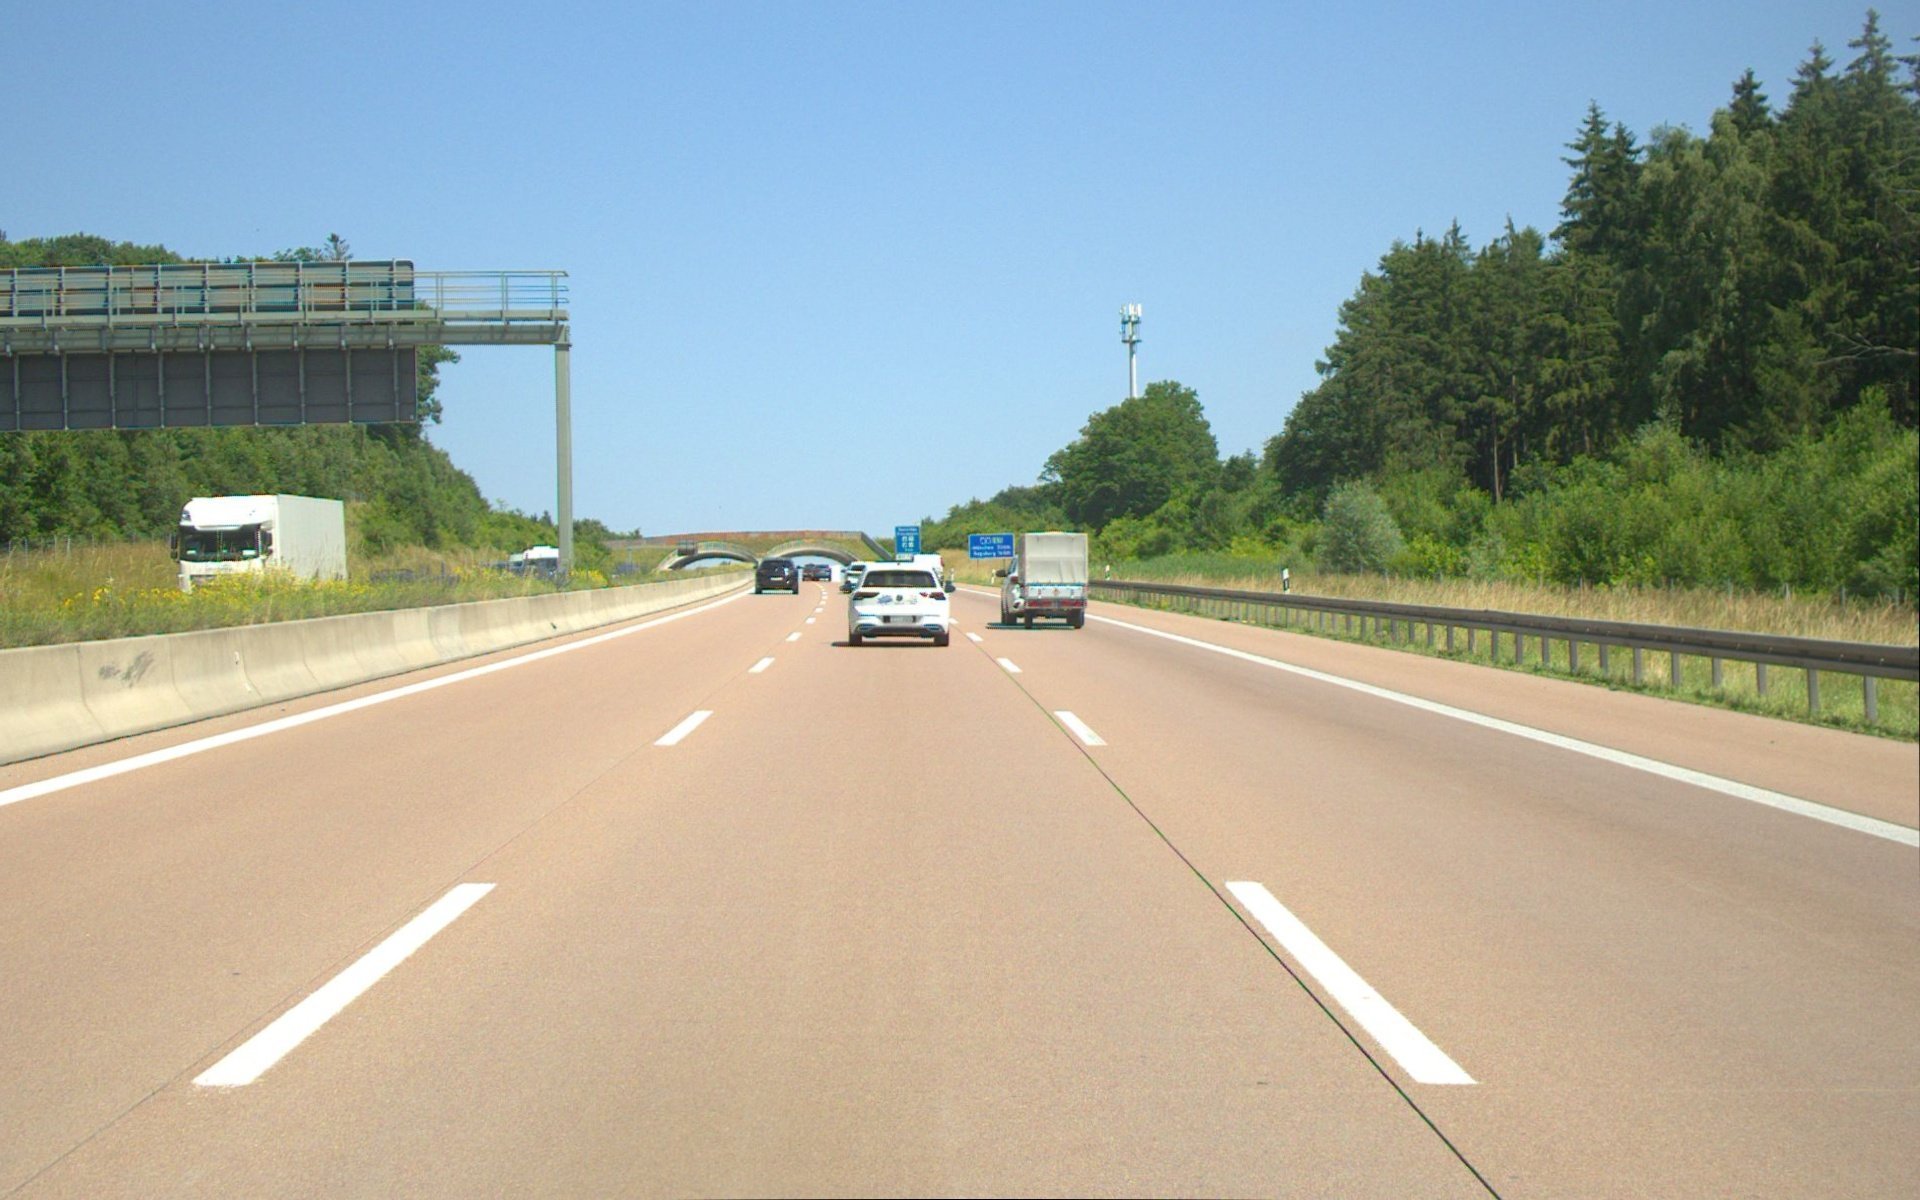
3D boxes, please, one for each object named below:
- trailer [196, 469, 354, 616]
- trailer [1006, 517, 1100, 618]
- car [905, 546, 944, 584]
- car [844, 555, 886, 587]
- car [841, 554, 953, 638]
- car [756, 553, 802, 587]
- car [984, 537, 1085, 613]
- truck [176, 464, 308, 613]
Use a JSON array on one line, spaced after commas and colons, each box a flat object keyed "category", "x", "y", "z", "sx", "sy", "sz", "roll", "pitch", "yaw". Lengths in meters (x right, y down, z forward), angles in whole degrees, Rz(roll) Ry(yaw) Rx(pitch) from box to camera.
[{"category": "trailer", "x": -21.867, "y": -1.845, "z": 110.579, "sx": 2.703, "sy": 4.419, "sz": 13.193, "roll": 0, "pitch": 1, "yaw": -1}, {"category": "trailer", "x": 2.020, "y": -0.707, "z": 75.610, "sx": 1.657, "sy": 2.156, "sz": 4.016, "roll": 0, "pitch": 0, "yaw": -4}, {"category": "car", "x": -1.936, "y": -1.928, "z": 187.422, "sx": 2.110, "sy": 2.047, "sz": 4.000, "roll": 0, "pitch": 1, "yaw": -1}, {"category": "car", "x": -4.352, "y": -1.329, "z": 157.274, "sx": 1.890, "sy": 1.458, "sz": 4.000, "roll": 0, "pitch": 1, "yaw": -2}, {"category": "car", "x": -1.088, "y": -0.085, "z": 60.193, "sx": 1.891, "sy": 1.393, "sz": 4.000, "roll": 1, "pitch": 1, "yaw": -1}, {"category": "car", "x": -8.037, "y": -1.335, "z": 152.705, "sx": 1.891, "sy": 1.458, "sz": 4.000, "roll": 0, "pitch": 1, "yaw": -1}, {"category": "car", "x": 1.701, "y": -0.583, "z": 80.151, "sx": 1.890, "sy": 1.722, "sz": 5.187, "roll": 0, "pitch": 0, "yaw": -4}, {"category": "truck", "x": -21.691, "y": -1.844, "z": 104.112, "sx": 2.703, "sy": 4.365, "sz": 6.478, "roll": 0, "pitch": 1, "yaw": -1}]
